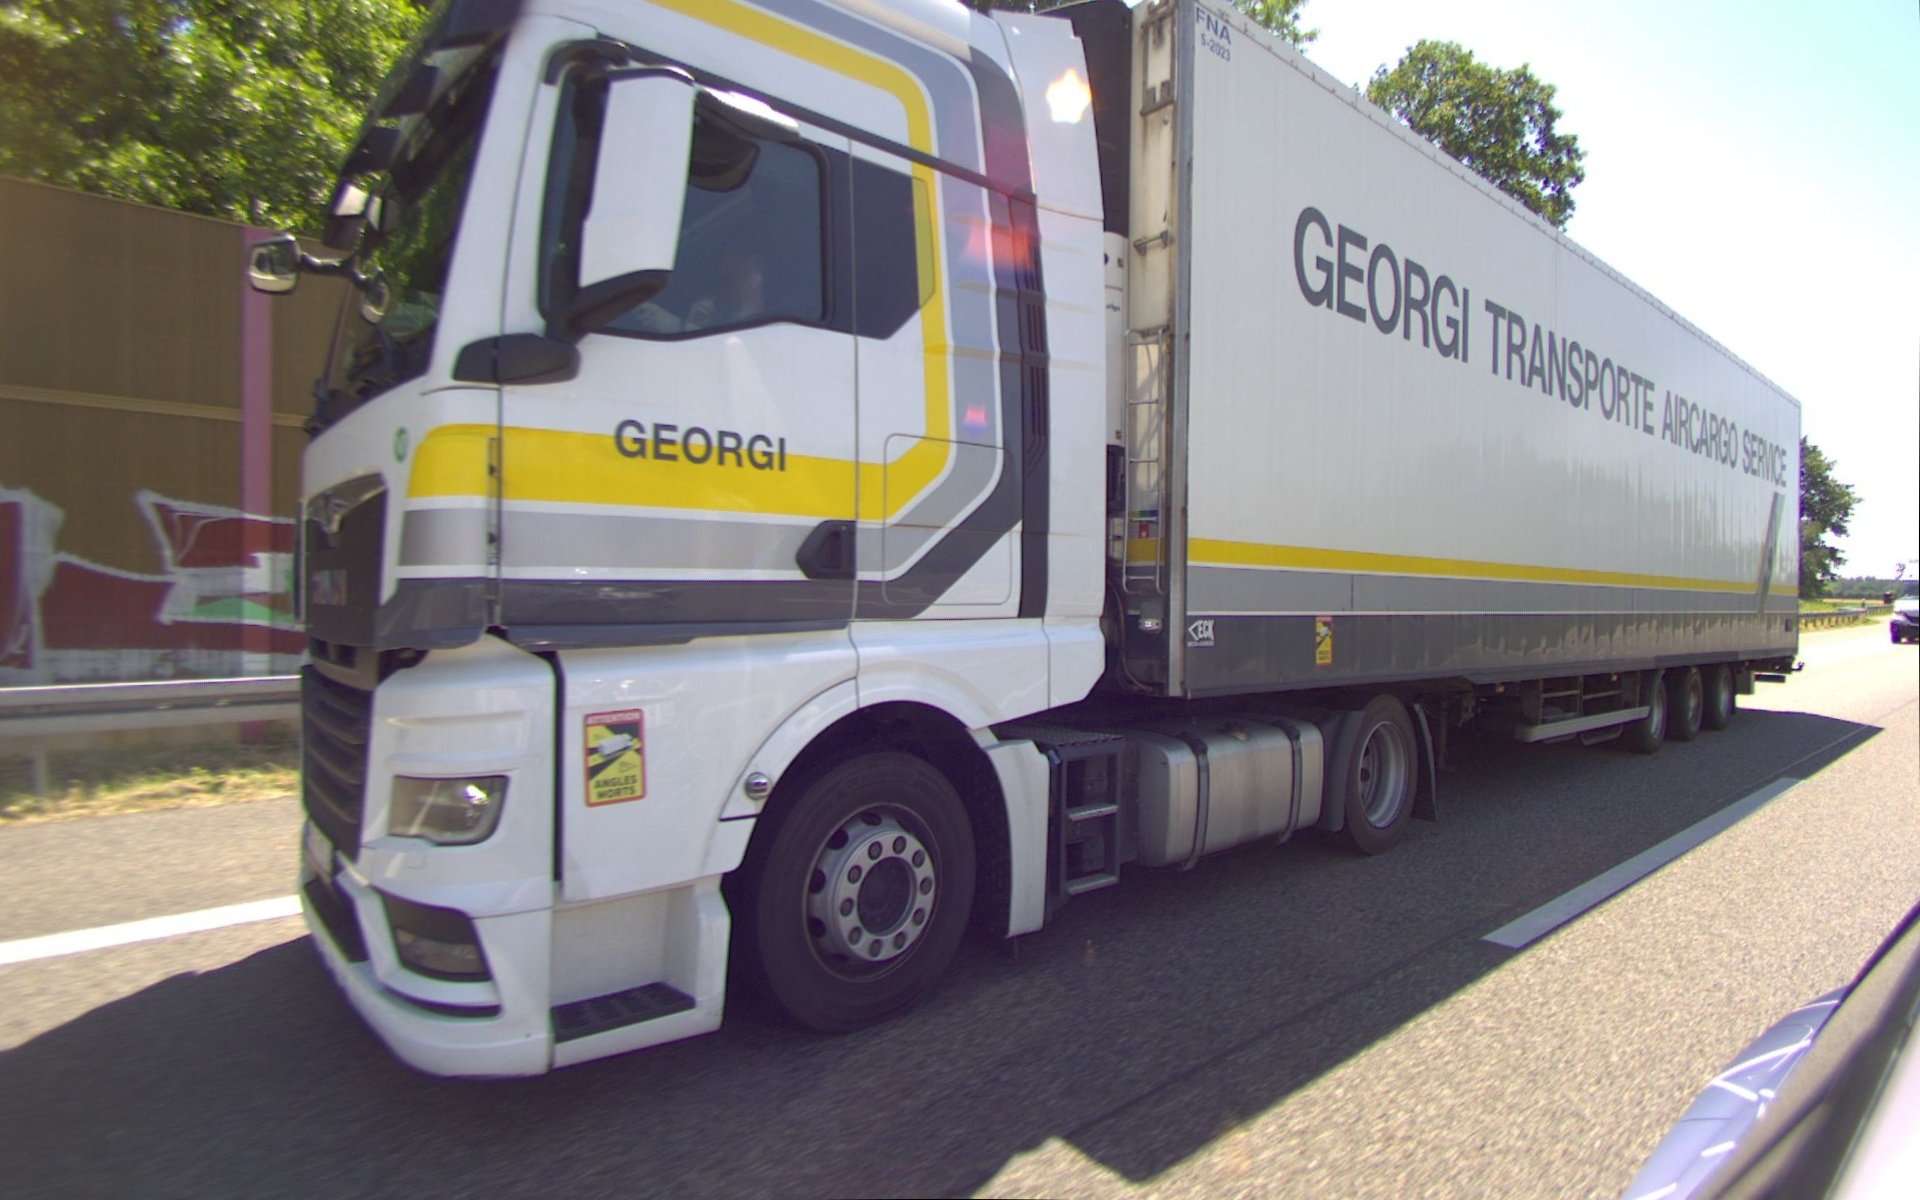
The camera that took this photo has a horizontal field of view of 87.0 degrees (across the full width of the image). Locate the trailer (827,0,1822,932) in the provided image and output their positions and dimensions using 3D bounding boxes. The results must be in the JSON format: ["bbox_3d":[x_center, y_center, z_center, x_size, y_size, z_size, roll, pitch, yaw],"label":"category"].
[{"bbox_3d":[5.075,-0.839,9.732,13.184,4.343,2.999,0,1,-41],"label":"trailer"}]

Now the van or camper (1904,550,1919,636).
[{"bbox_3d":[32.678,-0.241,33.107,6.374,2.670,2.025,0,1,-41],"label":"van or camper"}]

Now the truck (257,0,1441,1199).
[{"bbox_3d":[-0.243,-0.730,5.102,5.161,4.176,3.008,-1,1,-41],"label":"truck"}]
